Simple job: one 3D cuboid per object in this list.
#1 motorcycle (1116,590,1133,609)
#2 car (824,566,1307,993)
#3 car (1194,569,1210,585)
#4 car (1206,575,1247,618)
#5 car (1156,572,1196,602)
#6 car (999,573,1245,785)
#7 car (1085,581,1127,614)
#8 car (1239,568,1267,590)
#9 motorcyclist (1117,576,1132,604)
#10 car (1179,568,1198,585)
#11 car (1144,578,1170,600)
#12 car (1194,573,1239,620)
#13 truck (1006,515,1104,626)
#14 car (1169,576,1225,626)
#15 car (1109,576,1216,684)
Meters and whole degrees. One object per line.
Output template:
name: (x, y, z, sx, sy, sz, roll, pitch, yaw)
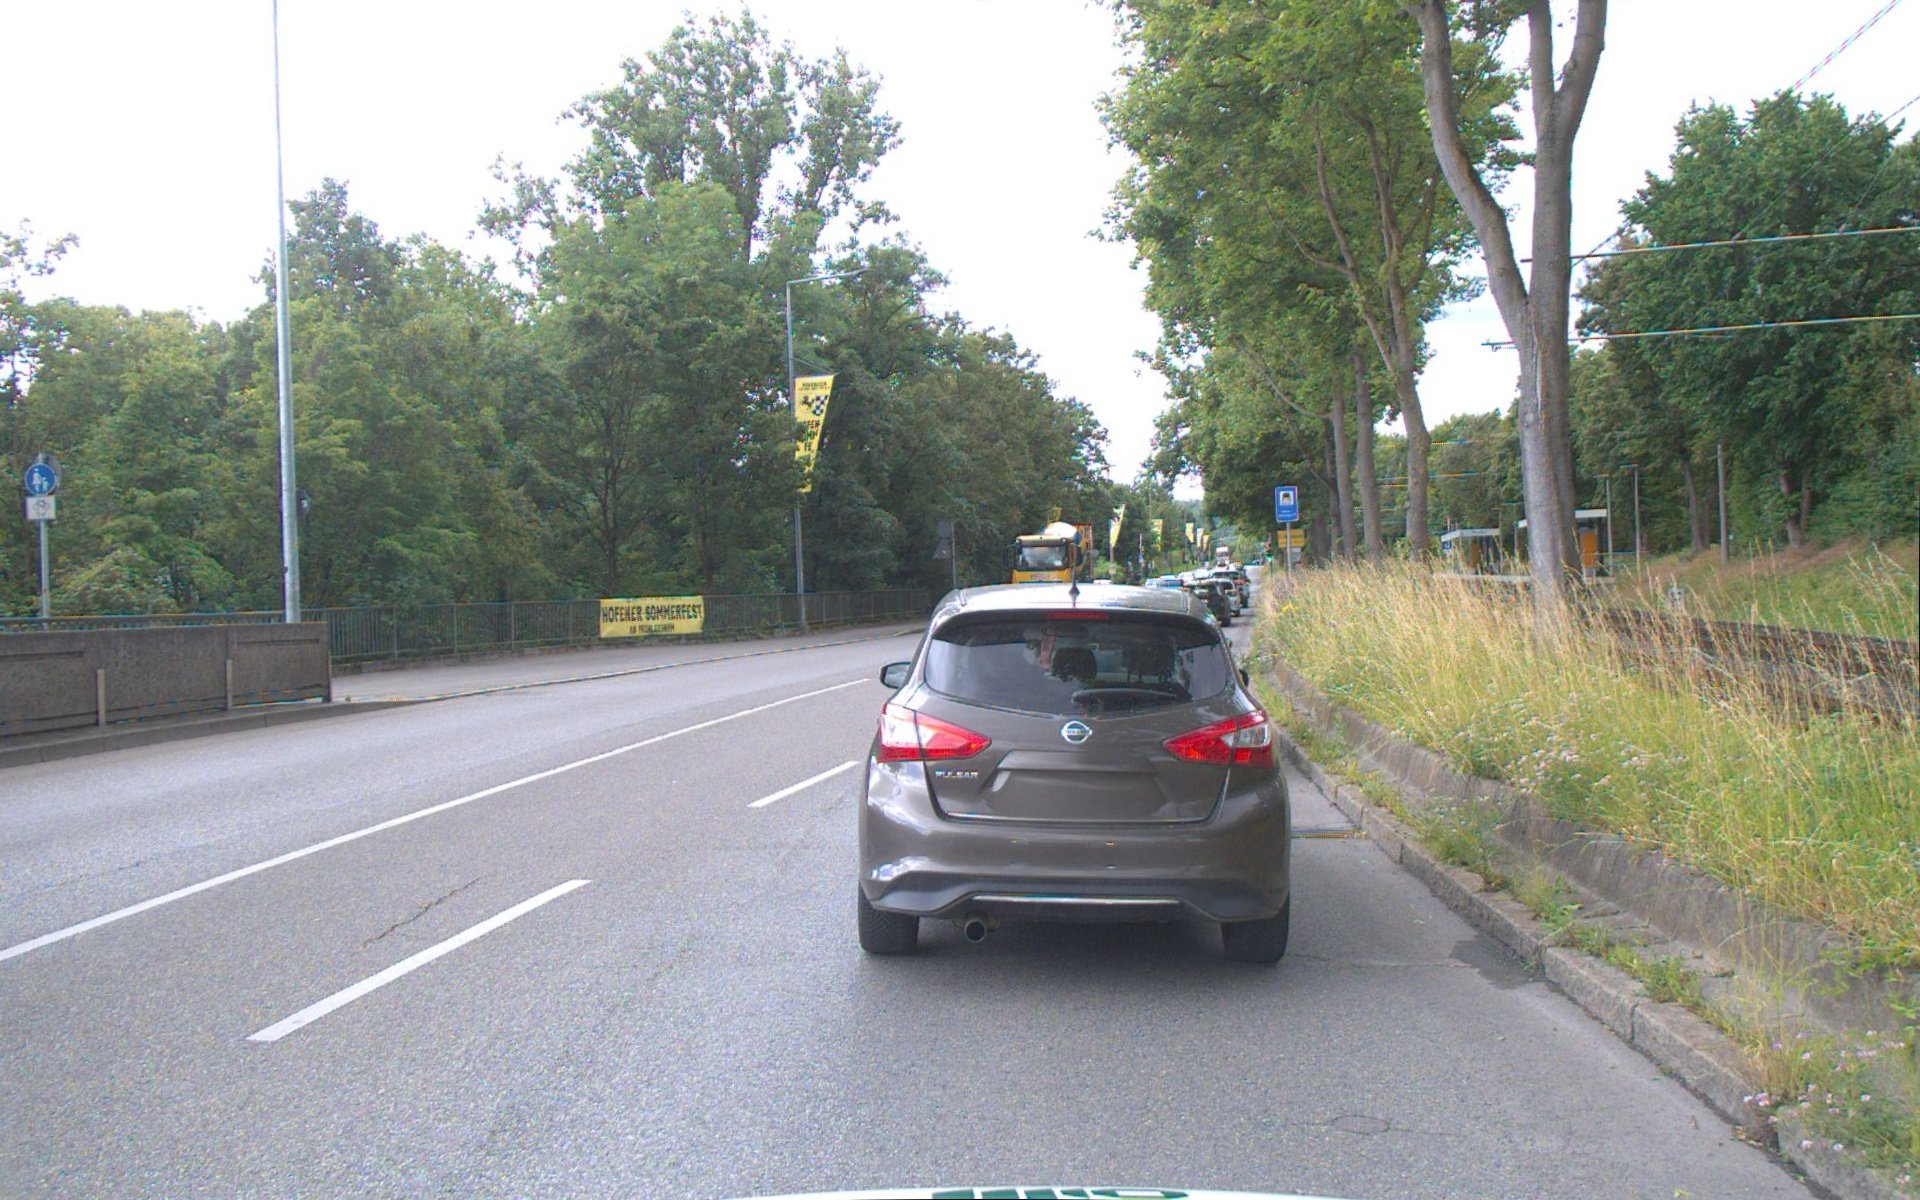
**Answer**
motorcycle: (9.358, -0.039, 94.022, 0.729, 1.051, 1.890, -1, 1, 12)
car: (0.543, 0.665, 7.988, 1.737, 1.520, 4.002, 0, -1, 5)
car: (28.420, -2.692, 194.355, 1.681, 1.723, 3.728, -2, -2, 10)
car: (13.180, -0.190, 81.761, 1.850, 2.049, 4.004, -1, 0, 11)
car: (11.713, -0.687, 89.363, 1.812, 1.512, 4.424, -1, -1, 11)
car: (1.347, 0.624, 14.570, 1.853, 1.601, 4.001, 0, -1, 3)
car: (7.032, -0.130, 79.355, 1.729, 1.505, 4.004, 0, 1, 10)
car: (20.445, -1.433, 115.273, 1.850, 1.470, 3.810, -1, 0, 11)
motorcyclist: (9.336, -0.581, 93.939, 0.729, 1.566, 0.791, -1, 0, 11)
car: (22.333, -2.269, 161.369, 1.715, 1.445, 4.003, -2, -2, 9)
car: (14.513, -0.782, 121.865, 1.684, 1.467, 4.003, -2, -2, 10)
car: (10.278, -0.094, 66.111, 1.681, 1.723, 4.003, -2, -2, 10)
truck: (3.850, -1.115, 64.905, 2.598, 4.007, 10.120, 0, 0, 10)
car: (7.764, 0.032, 54.148, 1.766, 1.567, 4.003, 0, 0, 8)
car: (3.247, 0.457, 26.654, 1.544, 1.565, 4.003, -2, 0, 6)
